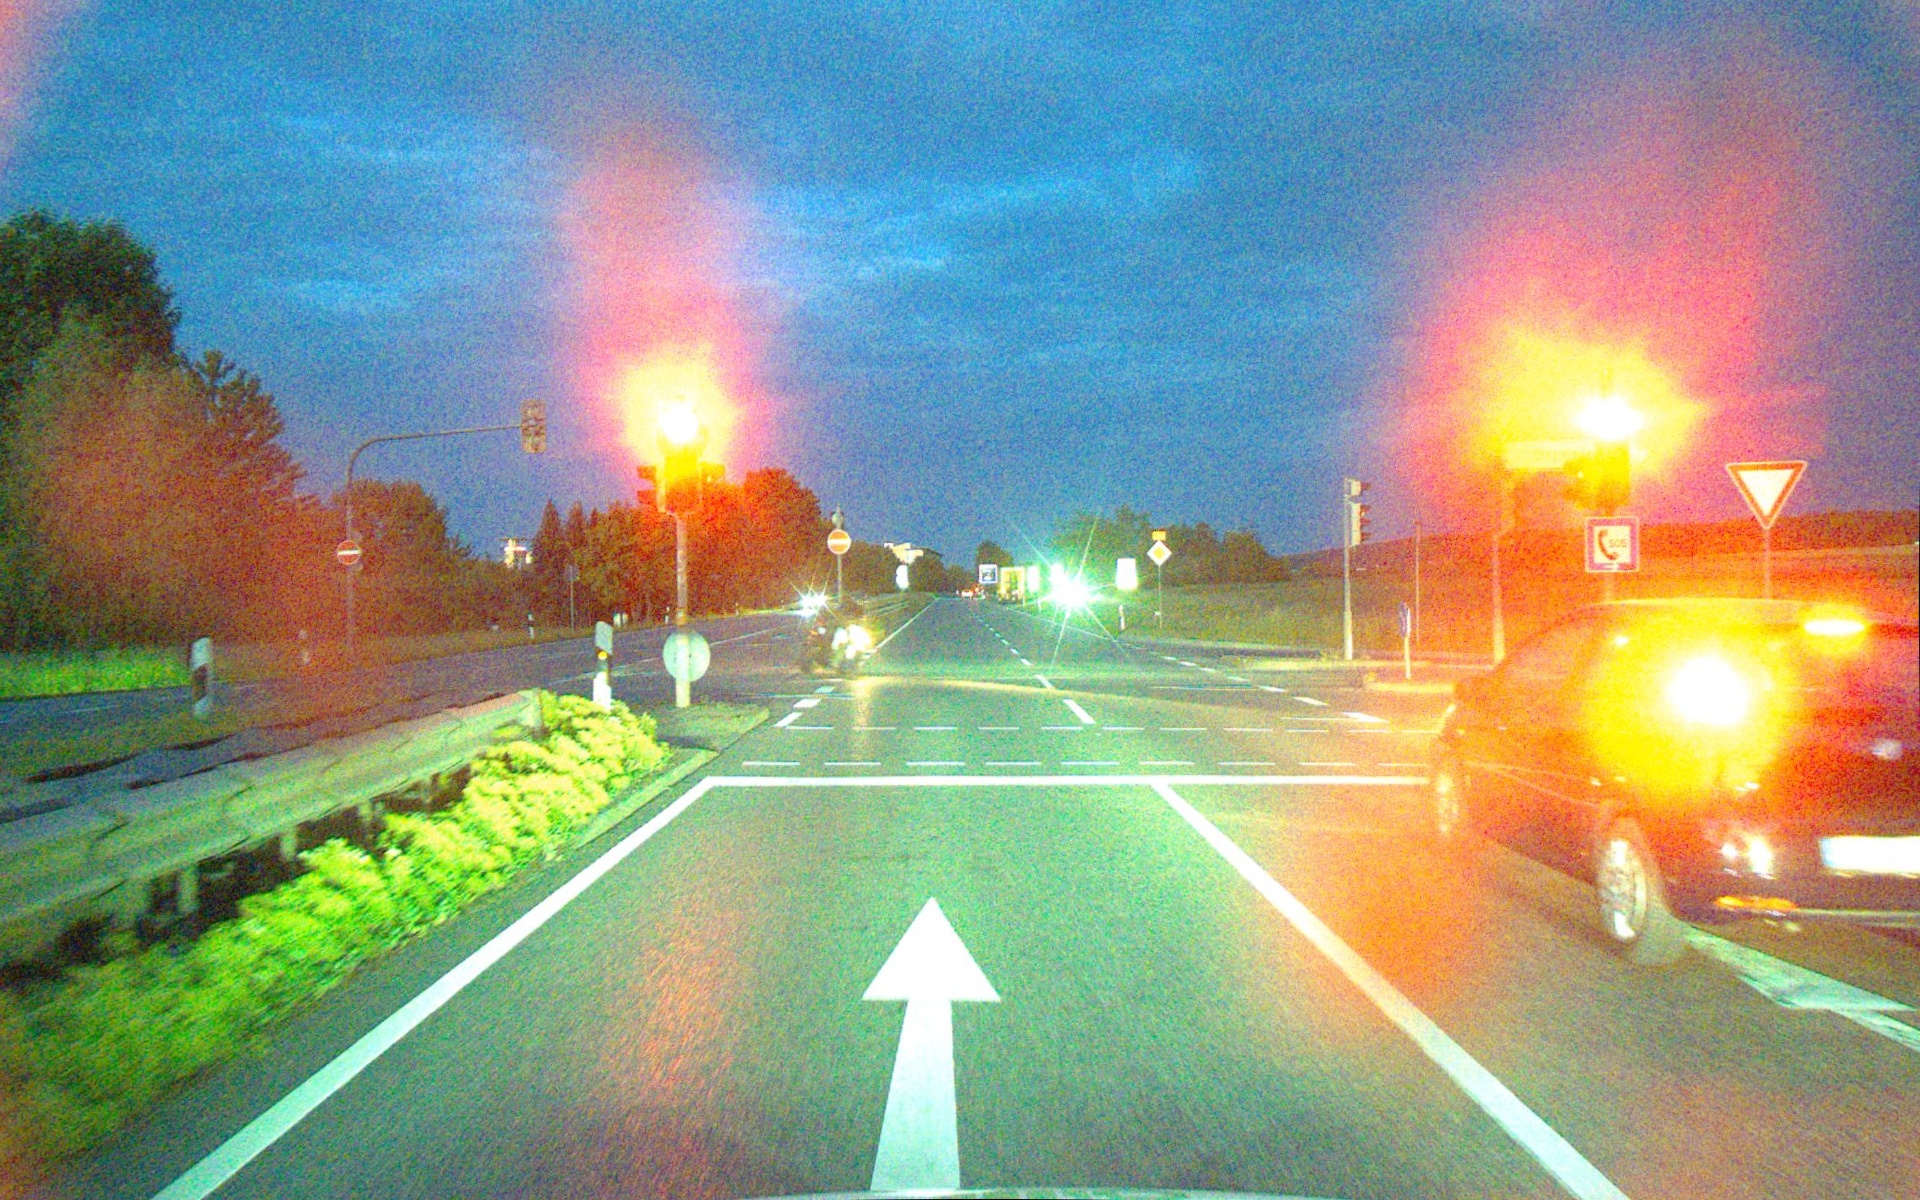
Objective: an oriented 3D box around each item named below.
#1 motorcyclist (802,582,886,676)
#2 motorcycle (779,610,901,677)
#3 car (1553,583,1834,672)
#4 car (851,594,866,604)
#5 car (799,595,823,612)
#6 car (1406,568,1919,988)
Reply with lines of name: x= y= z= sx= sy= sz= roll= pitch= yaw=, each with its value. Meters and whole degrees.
motorcyclist: x=-2.075 y=0.505 z=29.556 sx=1.129 sy=1.612 sz=0.959 roll=-1 pitch=0 yaw=-38
motorcycle: x=-2.169 y=0.758 z=29.643 sx=0.972 sy=1.118 sz=2.474 roll=-1 pitch=0 yaw=-38
car: x=14.027 y=0.502 z=31.817 sx=4.507 sy=1.547 sz=2.000 roll=-1 pitch=0 yaw=0
car: x=-14.303 y=-0.121 z=233.571 sx=1.953 sy=1.411 sz=3.999 roll=-1 pitch=0 yaw=-1
car: x=-14.015 y=0.339 z=155.584 sx=1.953 sy=1.545 sz=4.297 roll=-1 pitch=0 yaw=-1
car: x=3.561 y=0.657 z=8.186 sx=1.636 sy=1.547 sz=4.106 roll=0 pitch=0 yaw=1
